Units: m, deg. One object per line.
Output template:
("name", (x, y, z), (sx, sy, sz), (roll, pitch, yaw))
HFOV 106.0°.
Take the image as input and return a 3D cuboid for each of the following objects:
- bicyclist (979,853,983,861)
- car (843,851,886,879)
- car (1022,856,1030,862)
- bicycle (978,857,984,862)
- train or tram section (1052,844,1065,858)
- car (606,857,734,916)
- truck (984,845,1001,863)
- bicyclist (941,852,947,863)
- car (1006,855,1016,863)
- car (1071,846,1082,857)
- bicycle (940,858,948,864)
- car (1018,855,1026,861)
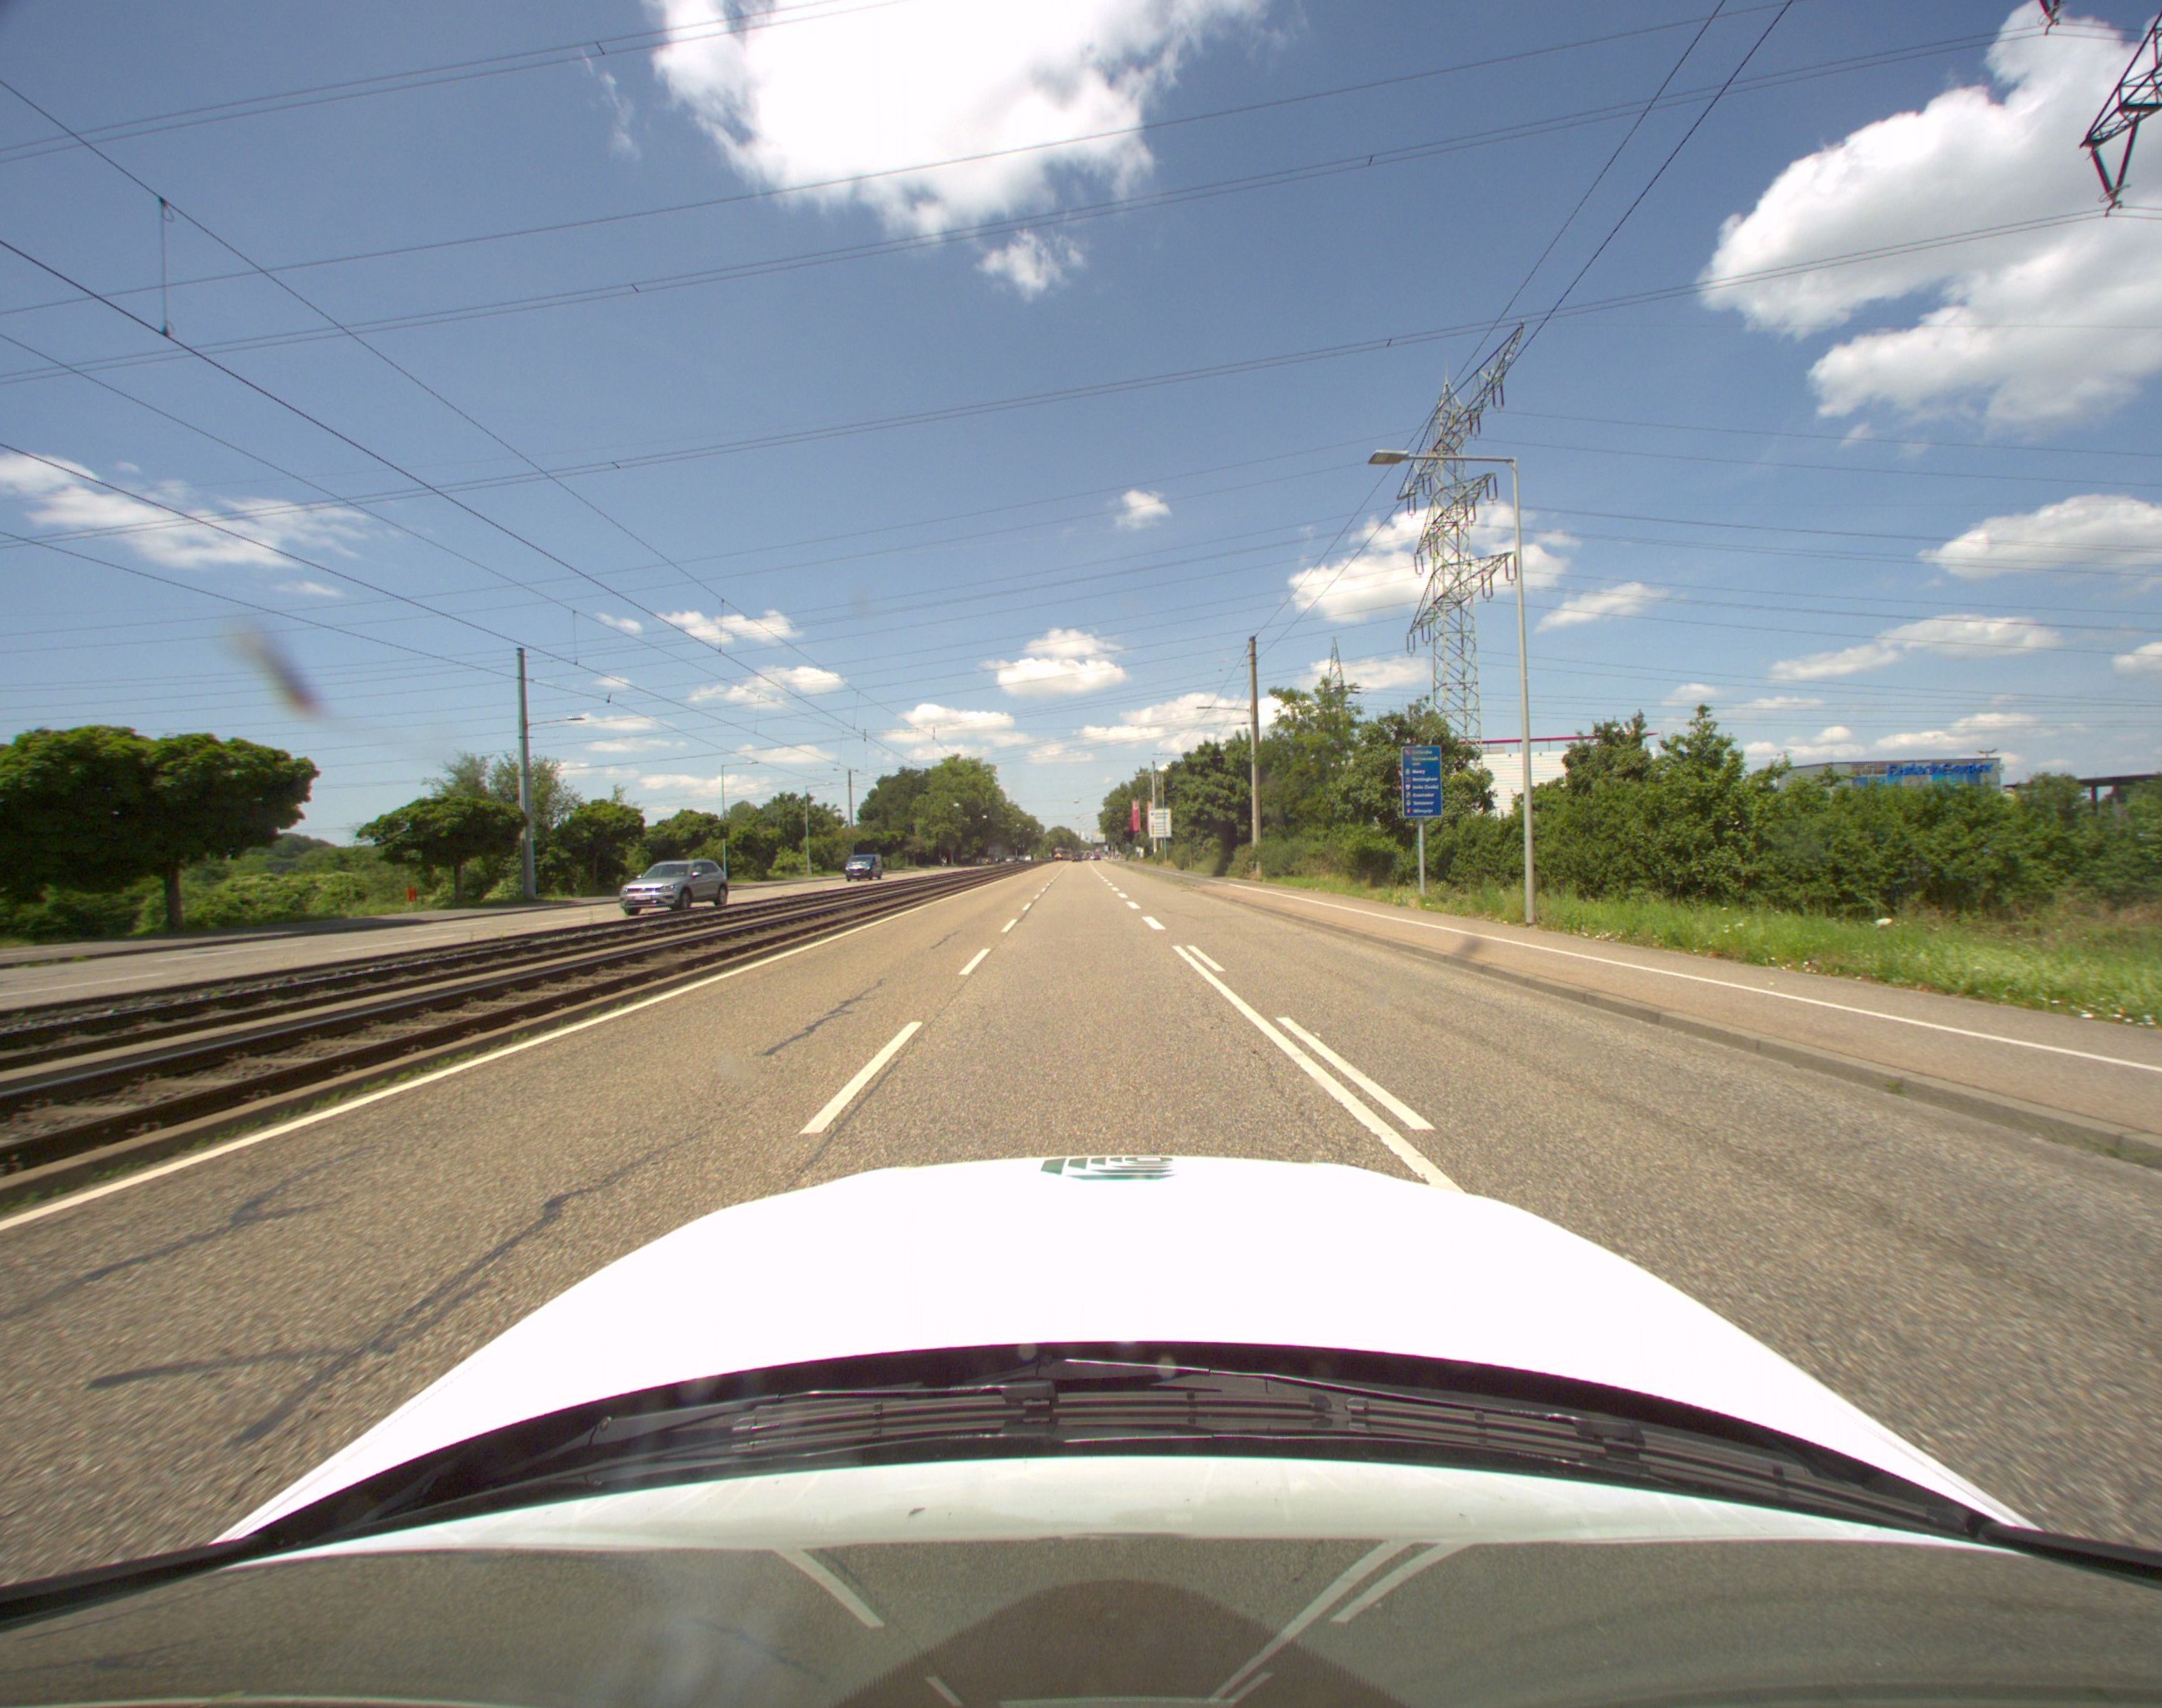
("bicyclist", (-18.894, 0.559, 153.903), (0.619, 1.617, 1.064), (1, 0, 6))
("car", (-16.380, 0.805, 61.905), (1.851, 1.927, 5.007), (-3, 0, 0))
("car", (-14.961, 1.272, 221.663), (1.632, 1.436, 3.720), (-3, 0, -1))
("bicycle", (-18.895, 1.012, 153.915), (0.619, 0.979, 2.058), (1, 0, 6))
("train or tram section", (-6.987, -0.854, 256.040), (3.037, 4.267, 15.426), (-2, 0, 1))
("car", (-13.127, 0.978, 26.374), (1.796, 1.625, 4.493), (-3, 0, -1))
("truck", (-16.330, -0.039, 151.293), (2.241, 3.236, 6.043), (-2, 0, 1))
("bicyclist", (-20.334, 0.565, 120.852), (0.648, 1.620, 1.156), (0, 0, 3))
("car", (-14.913, 1.006, 173.330), (1.747, 1.535, 3.955), (-3, 0, -1))
("car", (-0.861, -0.438, 147.553), (1.893, 1.805, 3.975), (0, 0, 0))
("bicycle", (-20.331, 1.065, 120.908), (0.648, 0.859, 2.122), (0, 0, 4))
("car", (-14.587, 1.061, 202.441), (1.631, 1.421, 4.127), (-3, 0, 1))
